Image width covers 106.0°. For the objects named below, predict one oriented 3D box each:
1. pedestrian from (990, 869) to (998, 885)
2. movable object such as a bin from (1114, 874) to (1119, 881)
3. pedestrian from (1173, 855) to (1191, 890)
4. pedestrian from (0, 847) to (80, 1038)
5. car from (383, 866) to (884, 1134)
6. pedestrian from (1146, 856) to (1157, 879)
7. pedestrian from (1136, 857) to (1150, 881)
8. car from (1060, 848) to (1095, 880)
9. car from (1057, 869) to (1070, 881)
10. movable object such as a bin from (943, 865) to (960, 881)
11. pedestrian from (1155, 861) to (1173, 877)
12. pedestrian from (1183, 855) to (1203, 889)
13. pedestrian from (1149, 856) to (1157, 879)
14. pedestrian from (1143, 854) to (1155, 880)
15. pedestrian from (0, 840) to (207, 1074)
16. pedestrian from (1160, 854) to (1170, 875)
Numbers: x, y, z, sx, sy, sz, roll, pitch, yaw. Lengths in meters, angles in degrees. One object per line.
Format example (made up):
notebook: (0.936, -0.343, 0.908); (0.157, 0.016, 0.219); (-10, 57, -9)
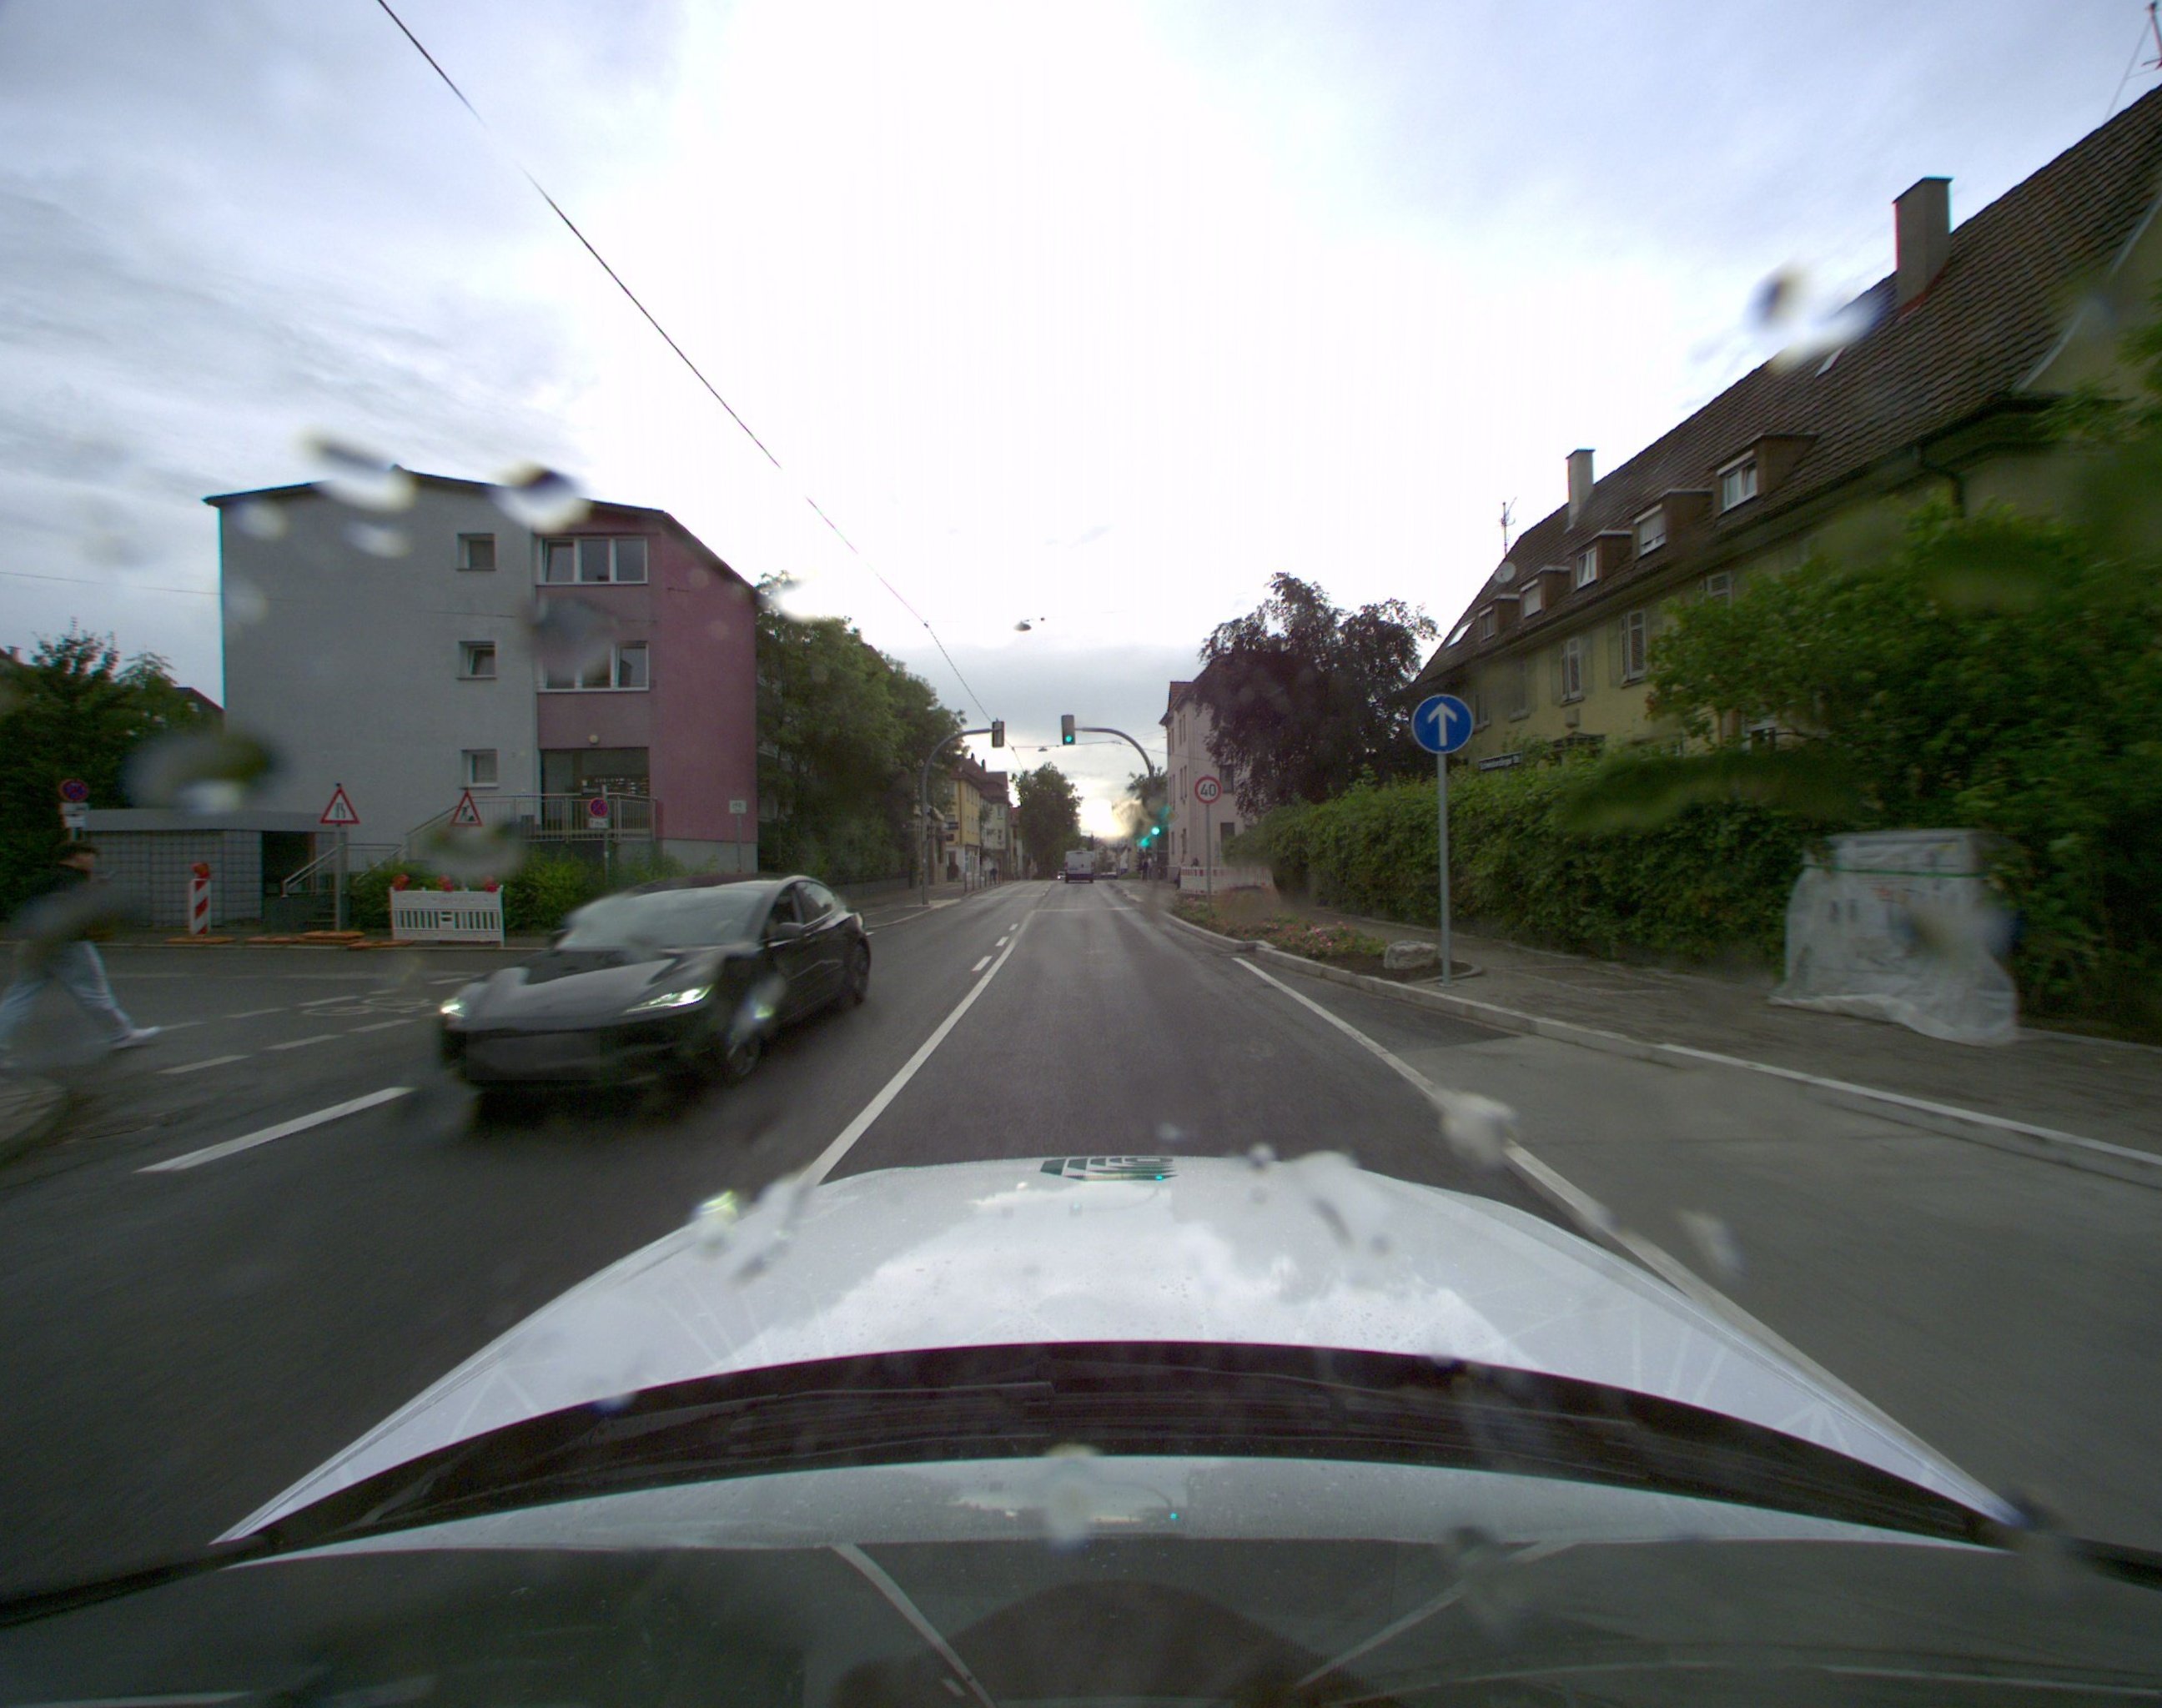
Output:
pedestrian: (-9.562, 2.535, 89.150); (0.813, 1.679, 0.992); (0, -2, -3)
movable object such as a bin: (5.469, 3.614, 125.160); (0.692, 1.082, 0.778); (-4, -2, 0)
pedestrian: (4.909, 0.905, 39.702); (0.780, 1.642, 1.223); (0, -1, 4)
pedestrian: (-10.717, 0.849, 7.818); (0.803, 1.821, 1.116); (0, 1, -1)
car: (-3.154, 0.888, 6.966); (1.777, 1.452, 4.390); (-1, 0, 1)
pedestrian: (5.585, 1.059, 64.302); (0.659, 1.741, 0.827); (-2, -1, -6)
pedestrian: (4.589, 1.115, 60.259); (0.639, 1.710, 0.741); (-3, -2, -34)
car: (-0.303, 0.739, 59.238); (2.341, 2.160, 4.772); (-1, -1, -3)
car: (-2.694, 3.227, 124.506); (1.876, 1.870, 4.451); (-2, -2, 0)
movable object such as a bin: (-11.203, 1.655, 70.568); (1.298, 1.402, 0.983); (-1, -1, -1)
pedestrian: (6.959, 1.302, 68.583); (1.353, 1.273, 0.740); (-2, -1, -6)
pedestrian: (5.245, 0.852, 38.065); (0.870, 1.561, 1.051); (0, -1, 9)
pedestrian: (5.436, 0.982, 61.382); (0.443, 1.708, 0.560); (-4, -1, 16)
pedestrian: (5.070, 0.954, 60.761); (0.481, 1.875, 0.637); (-5, -2, 33)
pedestrian: (-8.672, 0.831, 7.124); (0.859, 1.882, 1.043); (-1, 0, -2)
pedestrian: (7.196, 0.894, 69.939); (0.642, 1.831, 0.744); (-3, -1, 13)
